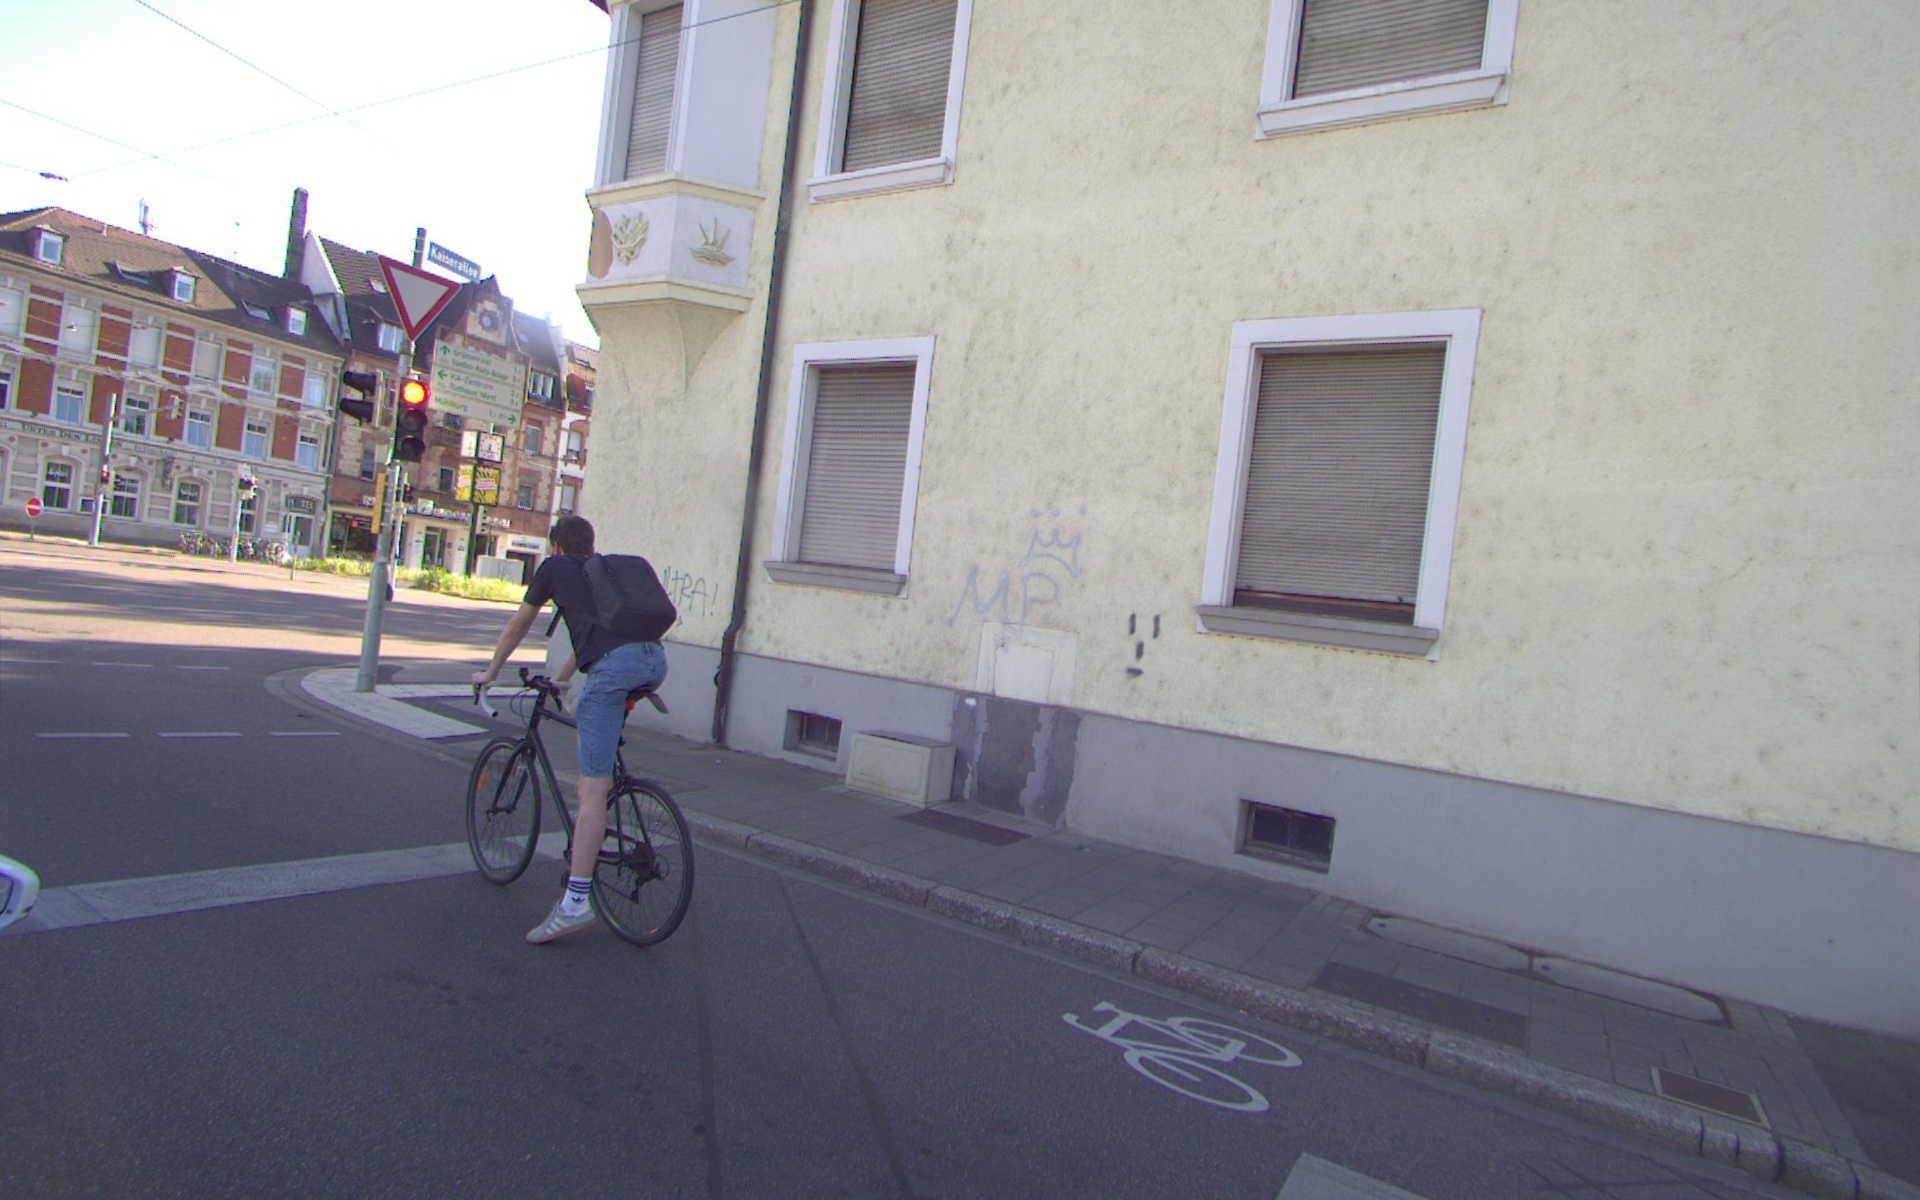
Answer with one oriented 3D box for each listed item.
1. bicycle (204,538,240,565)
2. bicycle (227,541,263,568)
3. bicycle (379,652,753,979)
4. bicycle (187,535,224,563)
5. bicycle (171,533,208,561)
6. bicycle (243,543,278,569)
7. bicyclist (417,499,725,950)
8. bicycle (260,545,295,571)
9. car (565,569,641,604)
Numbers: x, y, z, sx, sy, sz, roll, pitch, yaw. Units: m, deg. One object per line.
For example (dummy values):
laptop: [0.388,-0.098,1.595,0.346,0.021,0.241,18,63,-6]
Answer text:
bicycle: [-34.318,-2.267,46.773,1.614,1.064,0.606,7,0,27]
bicycle: [-33.652,-2.157,47.343,1.614,1.064,0.606,7,0,27]
bicycle: [-1.802,0.864,4.496,1.729,1.029,0.532,7,0,32]
bicycle: [-34.648,-2.334,46.197,1.614,1.064,0.606,7,0,27]
bicycle: [-34.948,-2.396,45.615,1.614,1.064,0.606,7,0,27]
bicycle: [-33.358,-2.094,47.953,1.614,1.064,0.606,7,0,27]
bicyclist: [-1.742,0.488,4.492,1.066,1.751,0.561,6,-1,32]
bicycle: [-32.983,-2.019,48.591,1.614,1.064,0.606,7,0,27]
car: [-23.126,-0.871,65.311,1.966,1.674,4.378,7,-1,29]
